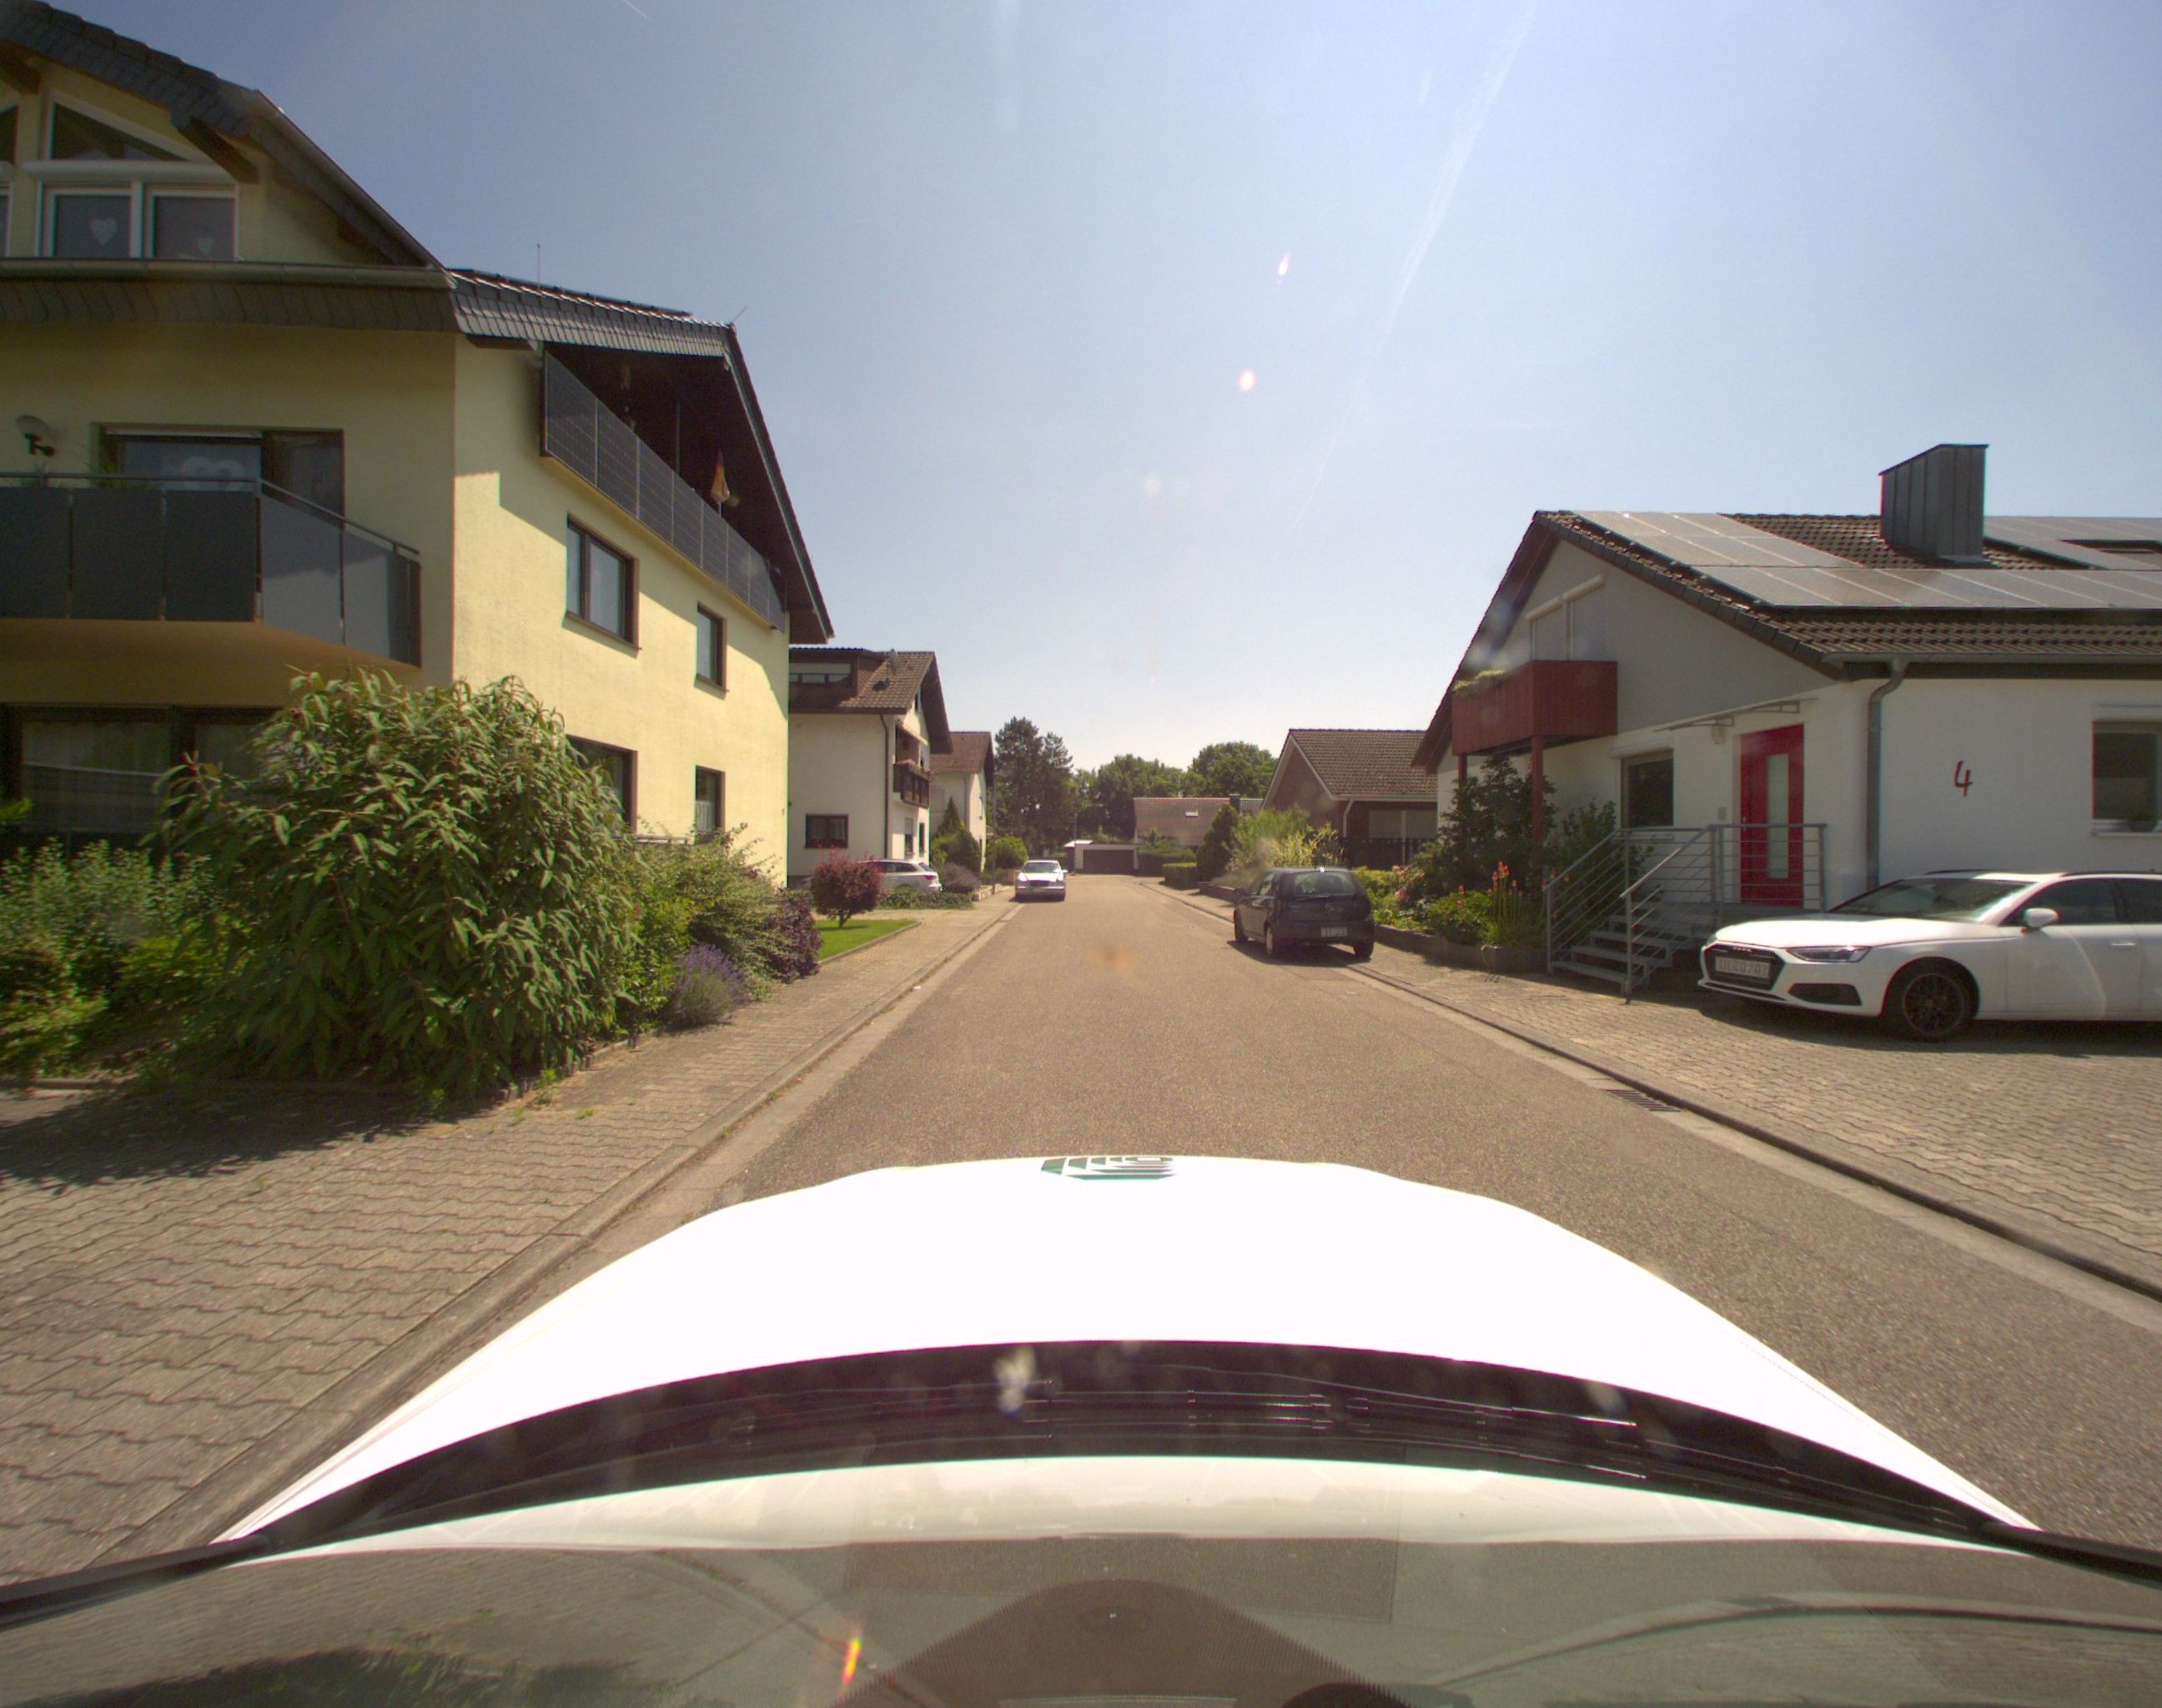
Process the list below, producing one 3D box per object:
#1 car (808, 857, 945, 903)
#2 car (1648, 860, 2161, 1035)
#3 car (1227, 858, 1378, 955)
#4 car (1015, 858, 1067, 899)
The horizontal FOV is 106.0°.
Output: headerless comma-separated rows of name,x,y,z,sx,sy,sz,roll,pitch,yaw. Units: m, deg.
car,-6.446,0.816,26.074,3.982,1.420,1.842,0,0,-6
car,8.246,0.779,7.642,4.521,1.396,1.952,0,0,1
car,3.647,0.791,14.048,1.645,1.440,3.651,0,0,0
car,-1.417,0.867,30.228,1.694,1.393,4.336,0,0,0
